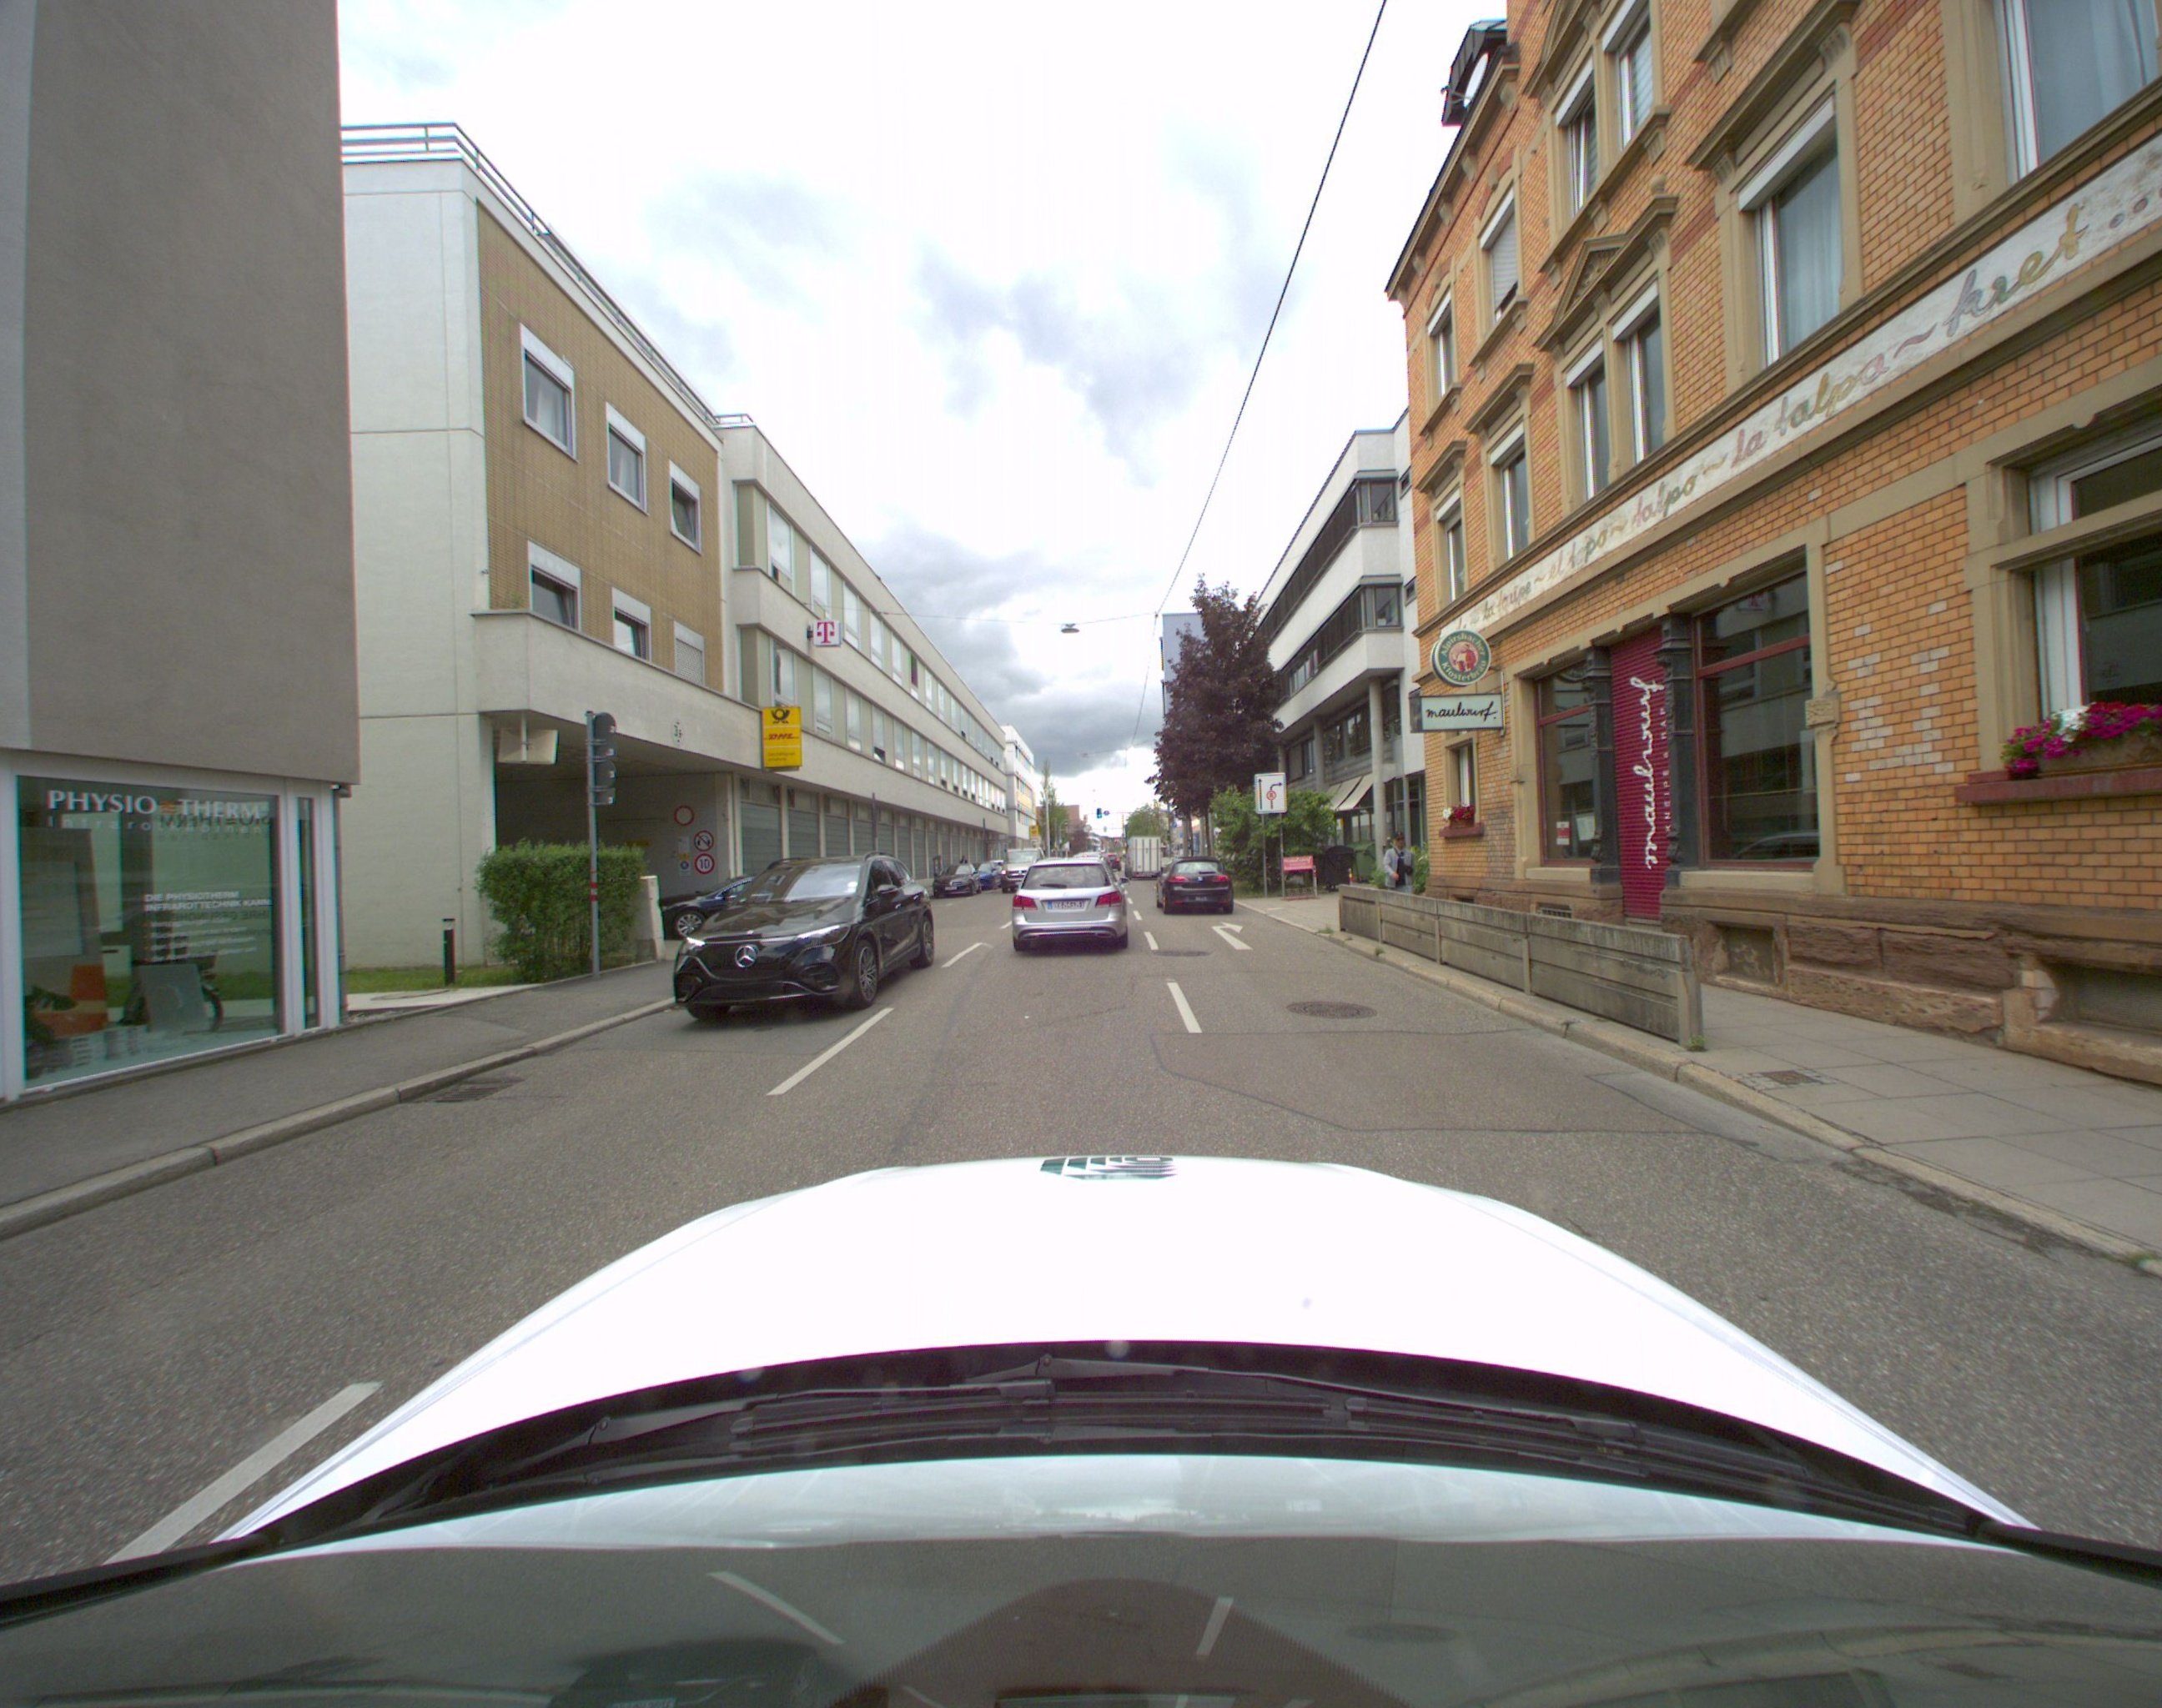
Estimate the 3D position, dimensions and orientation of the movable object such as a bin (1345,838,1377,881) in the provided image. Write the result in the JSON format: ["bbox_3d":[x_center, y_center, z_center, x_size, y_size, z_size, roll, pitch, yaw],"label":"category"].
[{"bbox_3d":[10.259,0.201,29.856,0.817,1.504,0.732,-5,-1,3],"label":"movable object such as a bin"}]

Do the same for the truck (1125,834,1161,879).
[{"bbox_3d":[3.819,0.147,50.567,1.986,2.607,3.261,-2,0,1],"label":"truck"}]

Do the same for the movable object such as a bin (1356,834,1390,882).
[{"bbox_3d":[10.169,0.142,28.344,0.817,1.589,0.732,-5,-1,3],"label":"movable object such as a bin"}]

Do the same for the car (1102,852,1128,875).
[{"bbox_3d":[2.508,0.706,60.294,1.797,1.601,3.738,-1,0,1],"label":"car"}]

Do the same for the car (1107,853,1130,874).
[{"bbox_3d":[3.092,0.748,67.097,1.797,1.601,3.738,-1,0,1],"label":"car"}]

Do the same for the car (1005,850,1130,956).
[{"bbox_3d":[-0.155,0.722,13.882,1.797,1.492,3.738,-2,0,1],"label":"car"}]

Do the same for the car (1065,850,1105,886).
[{"bbox_3d":[0.226,0.652,38.778,1.797,1.601,3.738,-1,0,1],"label":"car"}]

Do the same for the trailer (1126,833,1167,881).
[{"bbox_3d":[3.759,0.159,47.814,1.986,2.607,5.350,-2,0,1],"label":"trailer"}]

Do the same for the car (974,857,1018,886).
[{"bbox_3d":[-4.920,0.999,47.810,1.986,1.517,4.176,-2,0,1],"label":"car"}]

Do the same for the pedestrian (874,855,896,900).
[{"bbox_3d":[-7.962,0.942,33.071,0.640,1.769,0.810,-2,0,1],"label":"pedestrian"}]

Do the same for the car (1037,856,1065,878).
[{"bbox_3d":[-2.139,0.911,59.165,1.763,1.413,4.176,-3,0,1],"label":"car"}]

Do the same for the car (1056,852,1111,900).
[{"bbox_3d":[0.117,0.734,29.353,1.797,1.553,3.738,-2,0,1],"label":"car"}]

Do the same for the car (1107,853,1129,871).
[{"bbox_3d":[3.300,0.704,72.813,1.797,1.601,3.738,-1,0,1],"label":"car"}]

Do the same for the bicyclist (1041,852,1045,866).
[{"bbox_3d":[-4.808,0.634,103.797,0.443,1.697,0.555,-1,-1,1],"label":"bicyclist"}]

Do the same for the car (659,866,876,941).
[{"bbox_3d":[-7.133,1.047,18.611,4.424,1.365,1.769,-2,0,-28],"label":"car"}]

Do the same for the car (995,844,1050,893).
[{"bbox_3d":[-2.615,0.616,37.784,1.986,2.013,4.903,-3,0,1],"label":"car"}]

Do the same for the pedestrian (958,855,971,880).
[{"bbox_3d":[-7.821,0.895,54.579,0.653,1.623,0.681,-2,0,3],"label":"pedestrian"}]

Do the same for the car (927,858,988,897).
[{"bbox_3d":[-5.449,1.011,36.375,1.906,1.516,4.176,-4,0,1],"label":"car"}]

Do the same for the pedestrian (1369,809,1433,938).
[{"bbox_3d":[5.176,0.300,13.206,0.691,2.013,0.677,-2,0,0],"label":"pedestrian"}]

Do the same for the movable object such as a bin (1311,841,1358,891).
[{"bbox_3d":[7.986,0.367,25.760,0.940,1.470,1.445,-4,0,-1],"label":"movable object such as a bin"}]

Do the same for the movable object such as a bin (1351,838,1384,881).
[{"bbox_3d":[10.228,0.200,29.098,0.817,1.490,0.732,-5,-1,3],"label":"movable object such as a bin"}]

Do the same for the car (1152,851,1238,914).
[{"bbox_3d":[2.903,0.678,21.441,1.759,1.433,3.829,-2,0,1],"label":"car"}]

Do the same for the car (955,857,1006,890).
[{"bbox_3d":[-5.142,0.984,42.106,1.986,1.517,4.176,-2,0,1],"label":"car"}]

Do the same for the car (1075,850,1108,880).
[{"bbox_3d":[0.605,0.599,46.501,1.797,1.601,3.738,-1,0,1],"label":"car"}]

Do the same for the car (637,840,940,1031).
[{"bbox_3d":[-3.267,0.797,10.282,1.986,1.738,4.554,-4,0,1],"label":"car"}]
